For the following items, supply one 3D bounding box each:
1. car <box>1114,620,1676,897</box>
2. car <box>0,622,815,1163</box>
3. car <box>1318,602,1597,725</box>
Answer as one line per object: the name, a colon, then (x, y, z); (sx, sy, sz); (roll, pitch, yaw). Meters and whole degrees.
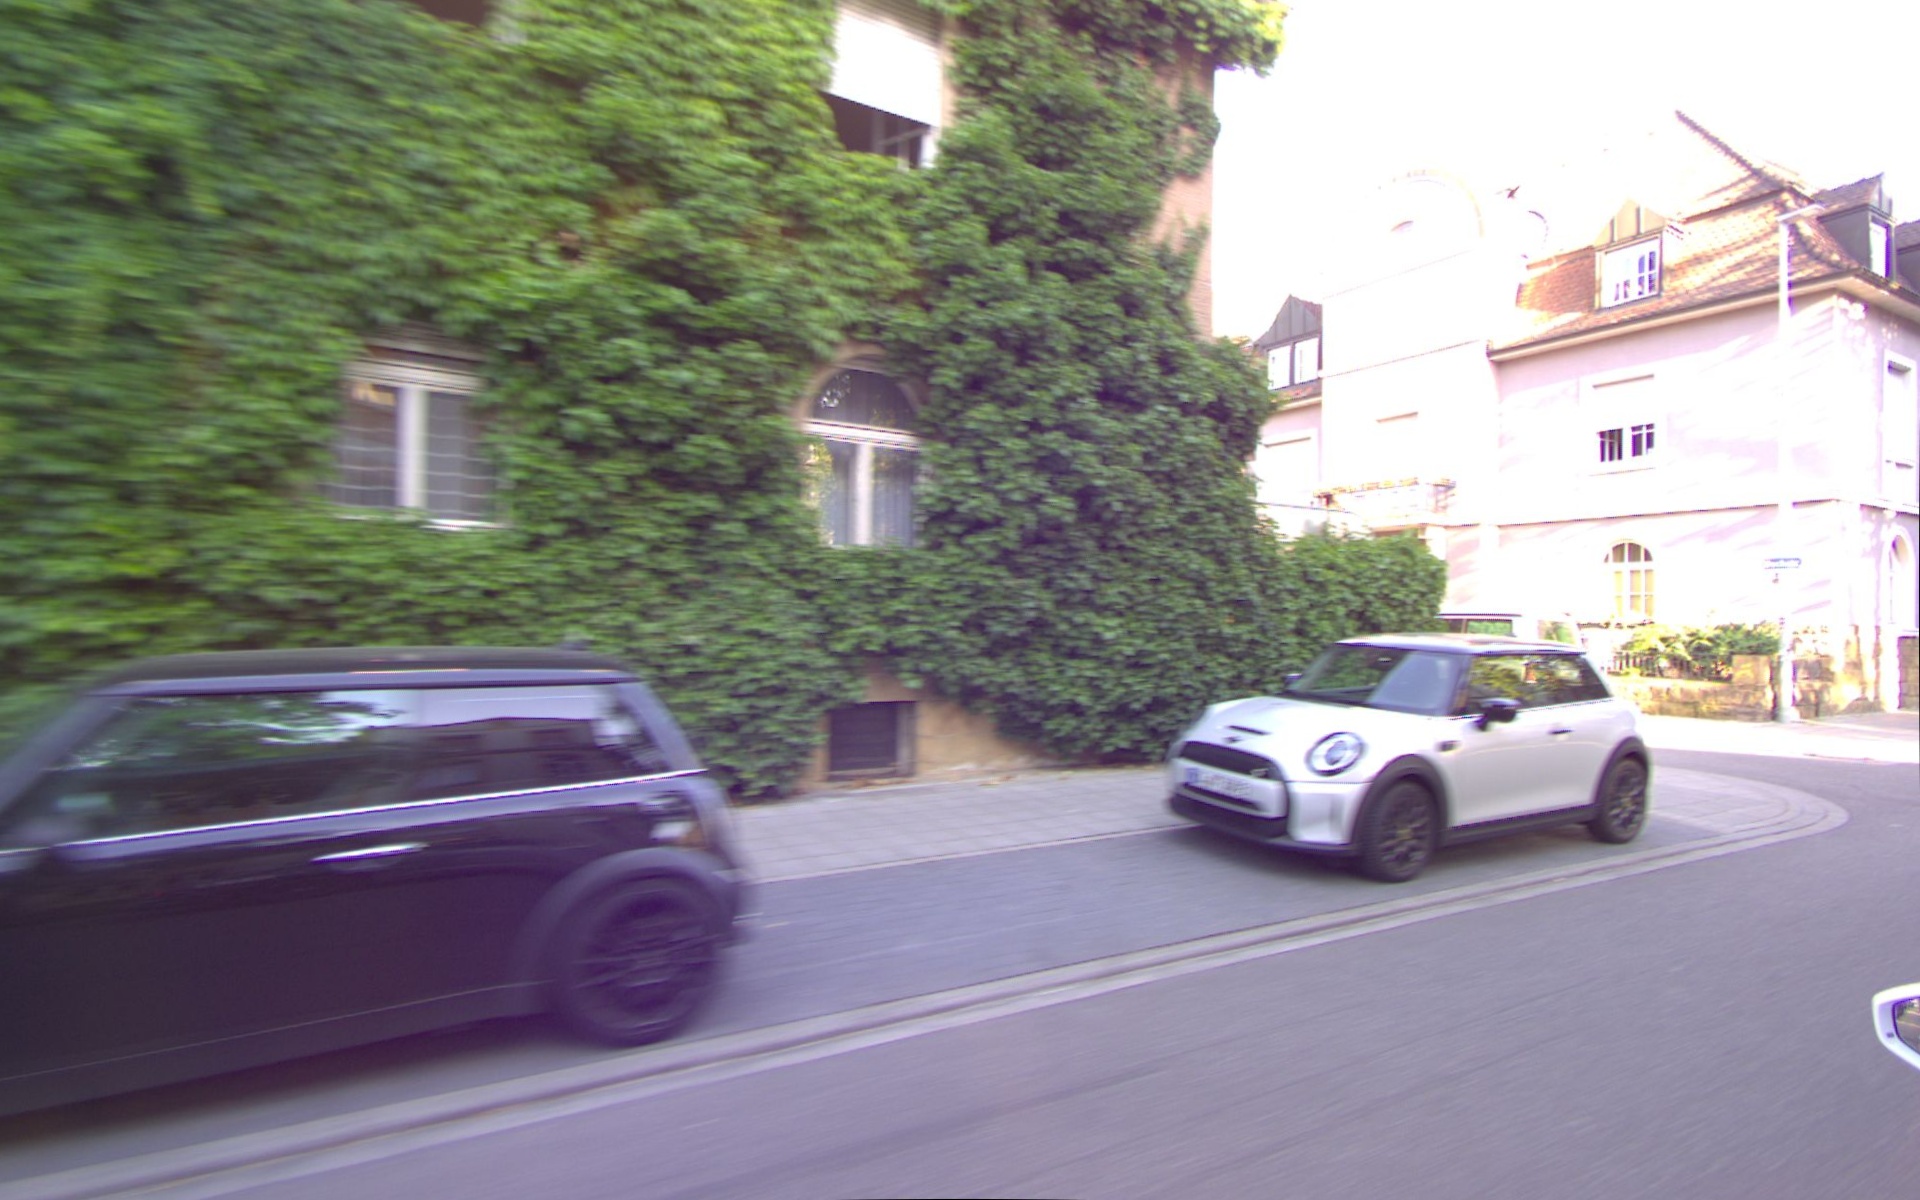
car: (3.181, 0.926, 7.217); (3.870, 1.480, 1.696); (1, 0, -29)
car: (-2.564, 0.811, 3.654); (3.677, 1.398, 1.678); (1, 0, -30)
car: (9.289, 1.148, 19.113); (1.979, 2.040, 4.376); (4, -3, -32)
